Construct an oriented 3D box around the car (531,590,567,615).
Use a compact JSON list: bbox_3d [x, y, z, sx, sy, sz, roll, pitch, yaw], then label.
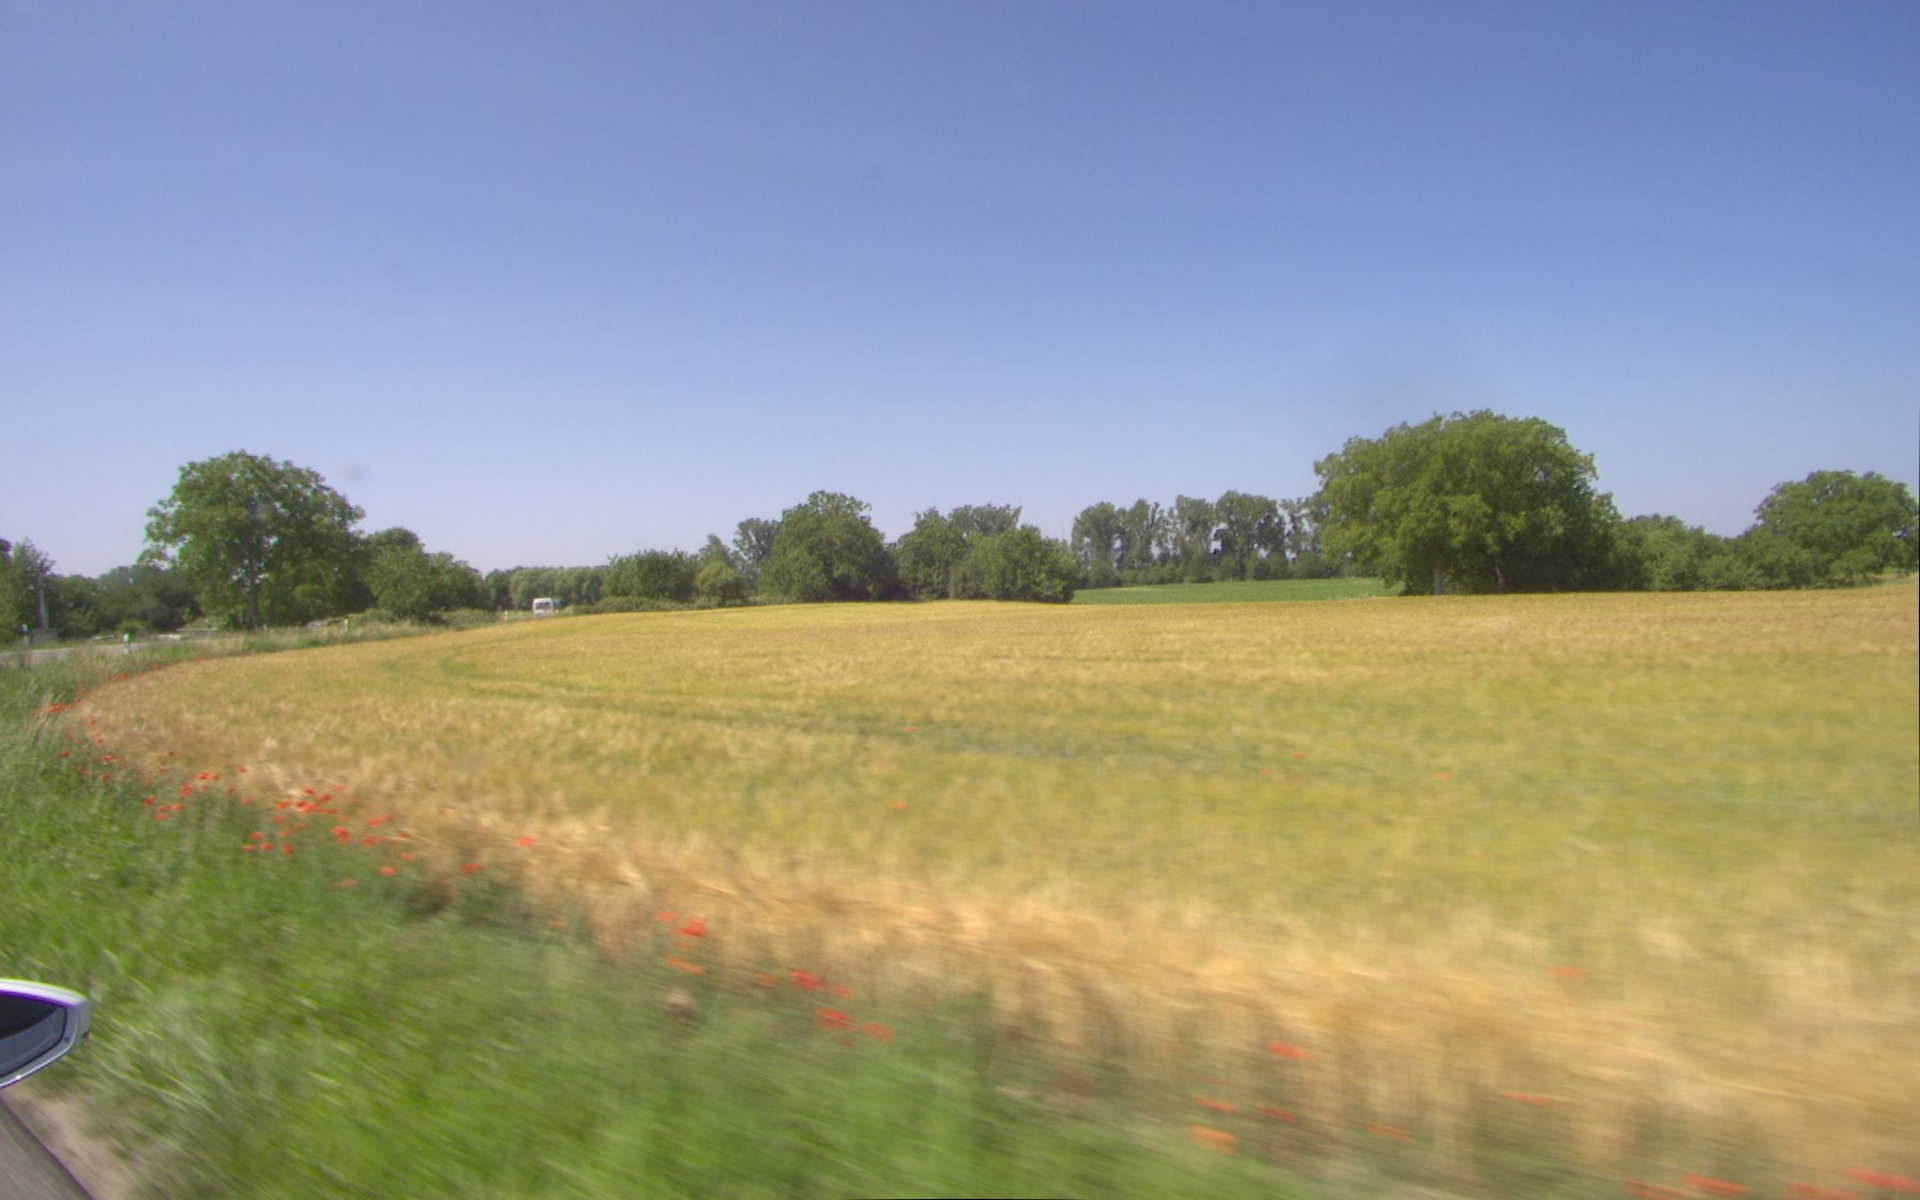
[{"bbox_3d":[-42.375,0.240,103.393,2.071,2.399,5.680,-2,1,-10],"label":"car"}]
